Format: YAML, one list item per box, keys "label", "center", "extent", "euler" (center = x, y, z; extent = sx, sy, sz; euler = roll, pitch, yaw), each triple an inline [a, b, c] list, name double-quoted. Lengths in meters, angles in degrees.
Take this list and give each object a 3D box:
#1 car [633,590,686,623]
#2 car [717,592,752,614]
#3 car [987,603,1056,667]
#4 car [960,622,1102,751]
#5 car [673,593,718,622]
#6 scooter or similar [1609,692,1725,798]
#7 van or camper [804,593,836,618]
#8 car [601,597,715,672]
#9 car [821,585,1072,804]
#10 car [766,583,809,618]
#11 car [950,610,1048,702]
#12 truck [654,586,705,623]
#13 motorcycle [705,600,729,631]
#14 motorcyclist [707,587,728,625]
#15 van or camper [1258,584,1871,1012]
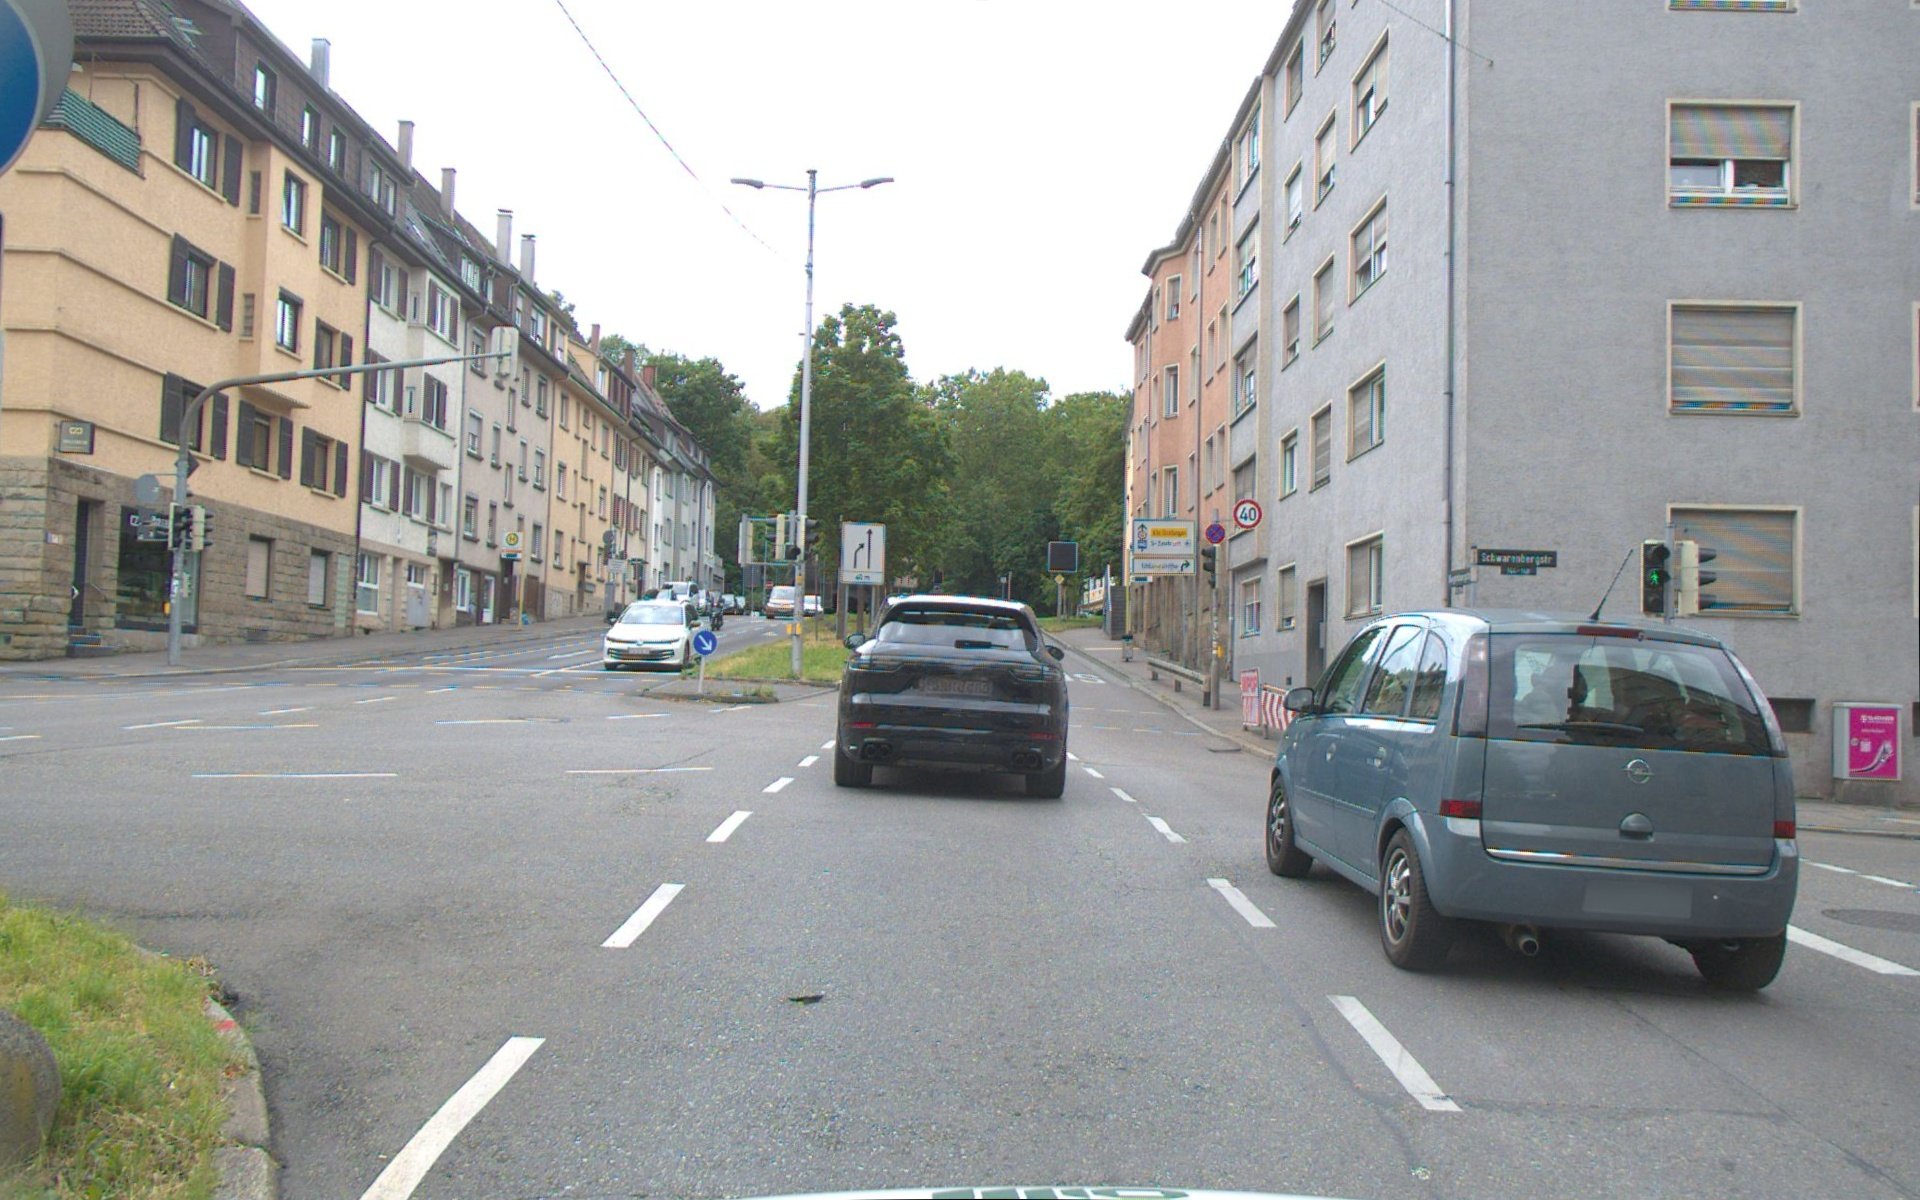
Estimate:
- label: "car"
  center: [-15.381, 0.348, 84.815]
  extent: [1.953, 1.579, 4.157]
  euler: [1, 0, -1]
- label: "car"
  center: [-15.034, 0.207, 110.483]
  extent: [1.954, 1.448, 4.208]
  euler: [1, 0, -4]
- label: "car"
  center: [1.761, 0.972, 47.982]
  extent: [1.894, 1.682, 4.001]
  euler: [1, 1, 1]
- label: "car"
  center: [0.999, 1.186, 24.221]
  extent: [1.894, 1.682, 4.000]
  euler: [1, 0, 1]
- label: "car"
  center: [-15.371, 0.425, 96.381]
  extent: [1.953, 1.579, 4.381]
  euler: [1, 0, -1]
- label: "scooter or similar"
  center: [9.139, 1.859, 21.381]
  extent: [1.231, 1.237, 0.599]
  euler: [2, -1, 36]
- label: "van or camper"
  center: [-10.437, 0.404, 123.711]
  extent: [1.869, 1.792, 4.654]
  euler: [2, 0, 0]
- label: "car"
  center: [-6.612, 0.718, 36.676]
  extent: [1.710, 1.493, 4.585]
  euler: [2, 0, -1]
- label: "car"
  center: [-0.062, 0.771, 14.998]
  extent: [1.952, 1.682, 4.000]
  euler: [1, -1, 1]
- label: "car"
  center: [-9.571, 0.043, 92.109]
  extent: [1.841, 1.847, 4.351]
  euler: [2, 0, 1]
- label: "car"
  center: [0.815, 1.111, 34.424]
  extent: [1.894, 1.682, 4.001]
  euler: [1, 1, 1]
- label: "truck"
  center: [-15.351, 0.265, 90.767]
  extent: [1.953, 1.953, 5.346]
  euler: [1, 0, -1]
- label: "motorcycle"
  center: [-9.824, 0.634, 66.895]
  extent: [0.533, 1.205, 2.205]
  euler: [2, -1, 1]
- label: "motorcyclist"
  center: [-9.812, 0.252, 66.940]
  extent: [0.659, 1.501, 0.662]
  euler: [2, -1, 1]
- label: "van or camper"
  center: [2.765, 0.826, 8.467]
  extent: [1.700, 1.605, 3.645]
  euler: [4, -1, -1]
